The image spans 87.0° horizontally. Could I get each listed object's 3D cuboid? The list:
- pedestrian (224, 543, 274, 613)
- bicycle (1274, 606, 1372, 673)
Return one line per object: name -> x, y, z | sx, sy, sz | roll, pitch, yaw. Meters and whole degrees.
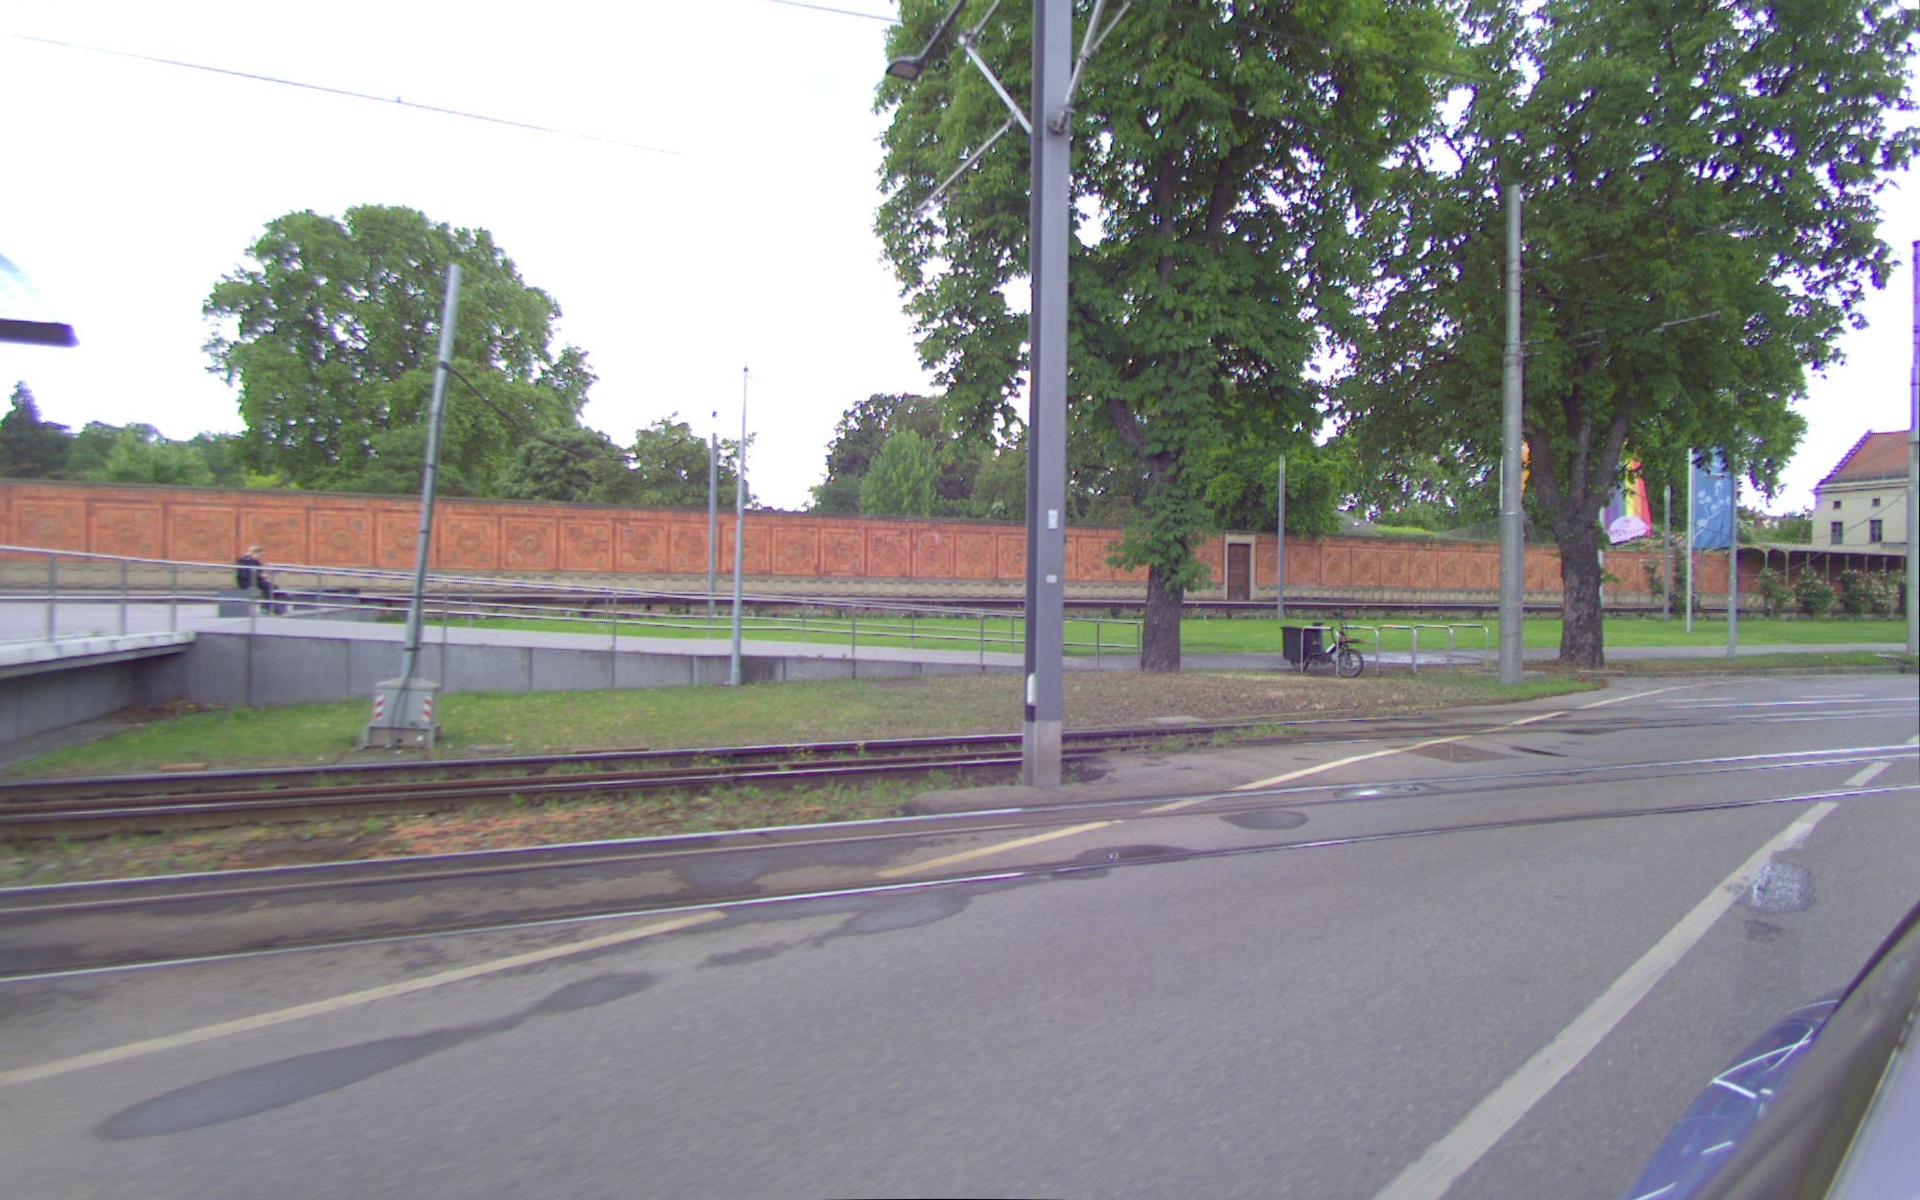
pedestrian -> -12.753, -0.387, 18.173 | 0.655, 1.217, 0.550 | 0, -2, -28
bicycle -> 6.939, 0.726, 19.467 | 0.725, 1.172, 2.002 | 0, 0, -17
